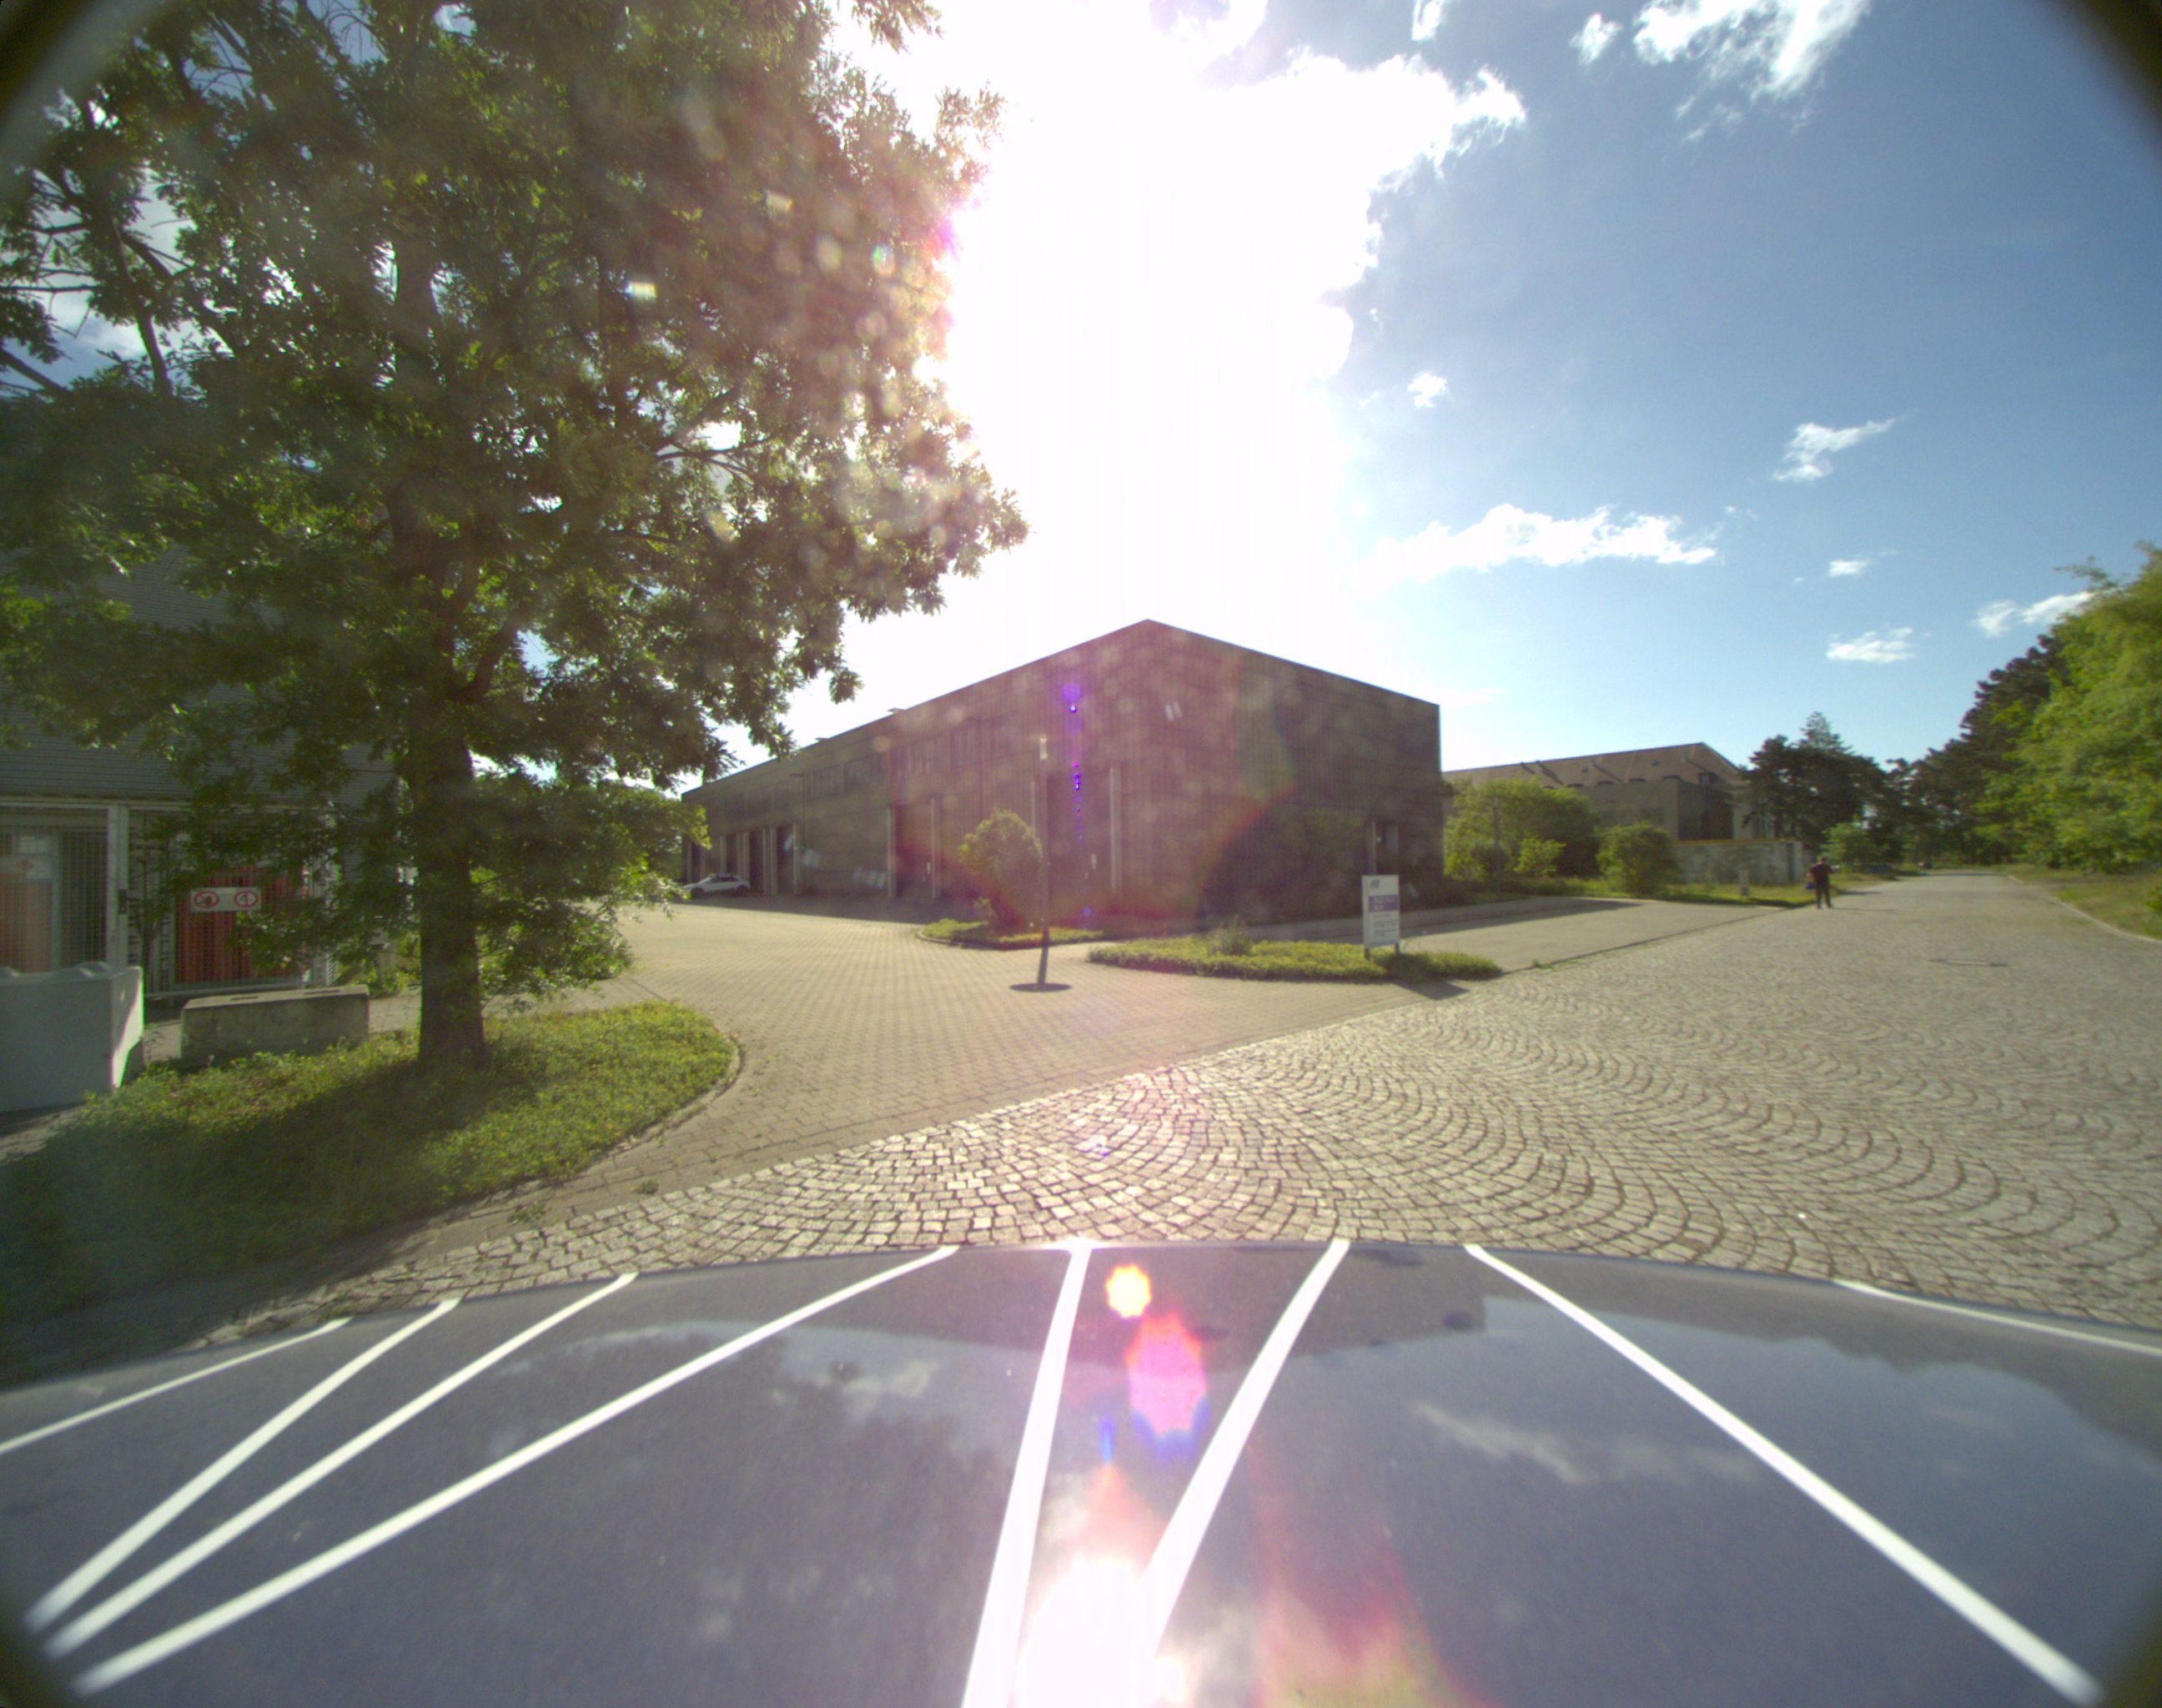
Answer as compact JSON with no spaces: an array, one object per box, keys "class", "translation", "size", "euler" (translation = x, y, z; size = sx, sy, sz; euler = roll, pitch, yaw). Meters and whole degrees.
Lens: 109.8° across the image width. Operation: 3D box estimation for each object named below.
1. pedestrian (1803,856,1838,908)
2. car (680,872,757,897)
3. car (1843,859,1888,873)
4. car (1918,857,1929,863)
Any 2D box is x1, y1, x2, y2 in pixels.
[{"class":"pedestrian","translation":[25.835,0.955,26.539],"size":[1.071,1.770,0.795],"euler":[0,0,-42]},{"class":"car","translation":[-25.936,2.146,54.452],"size":[4.589,1.653,1.995],"euler":[0,-1,-41]},{"class":"car","translation":[74.771,1.113,72.449],"size":[2.904,1.252,1.291],"euler":[-2,-1,41]},{"class":"car","translation":[163.082,1.116,147.125],"size":[2.869,1.092,1.370],"euler":[0,-2,-43]}]
